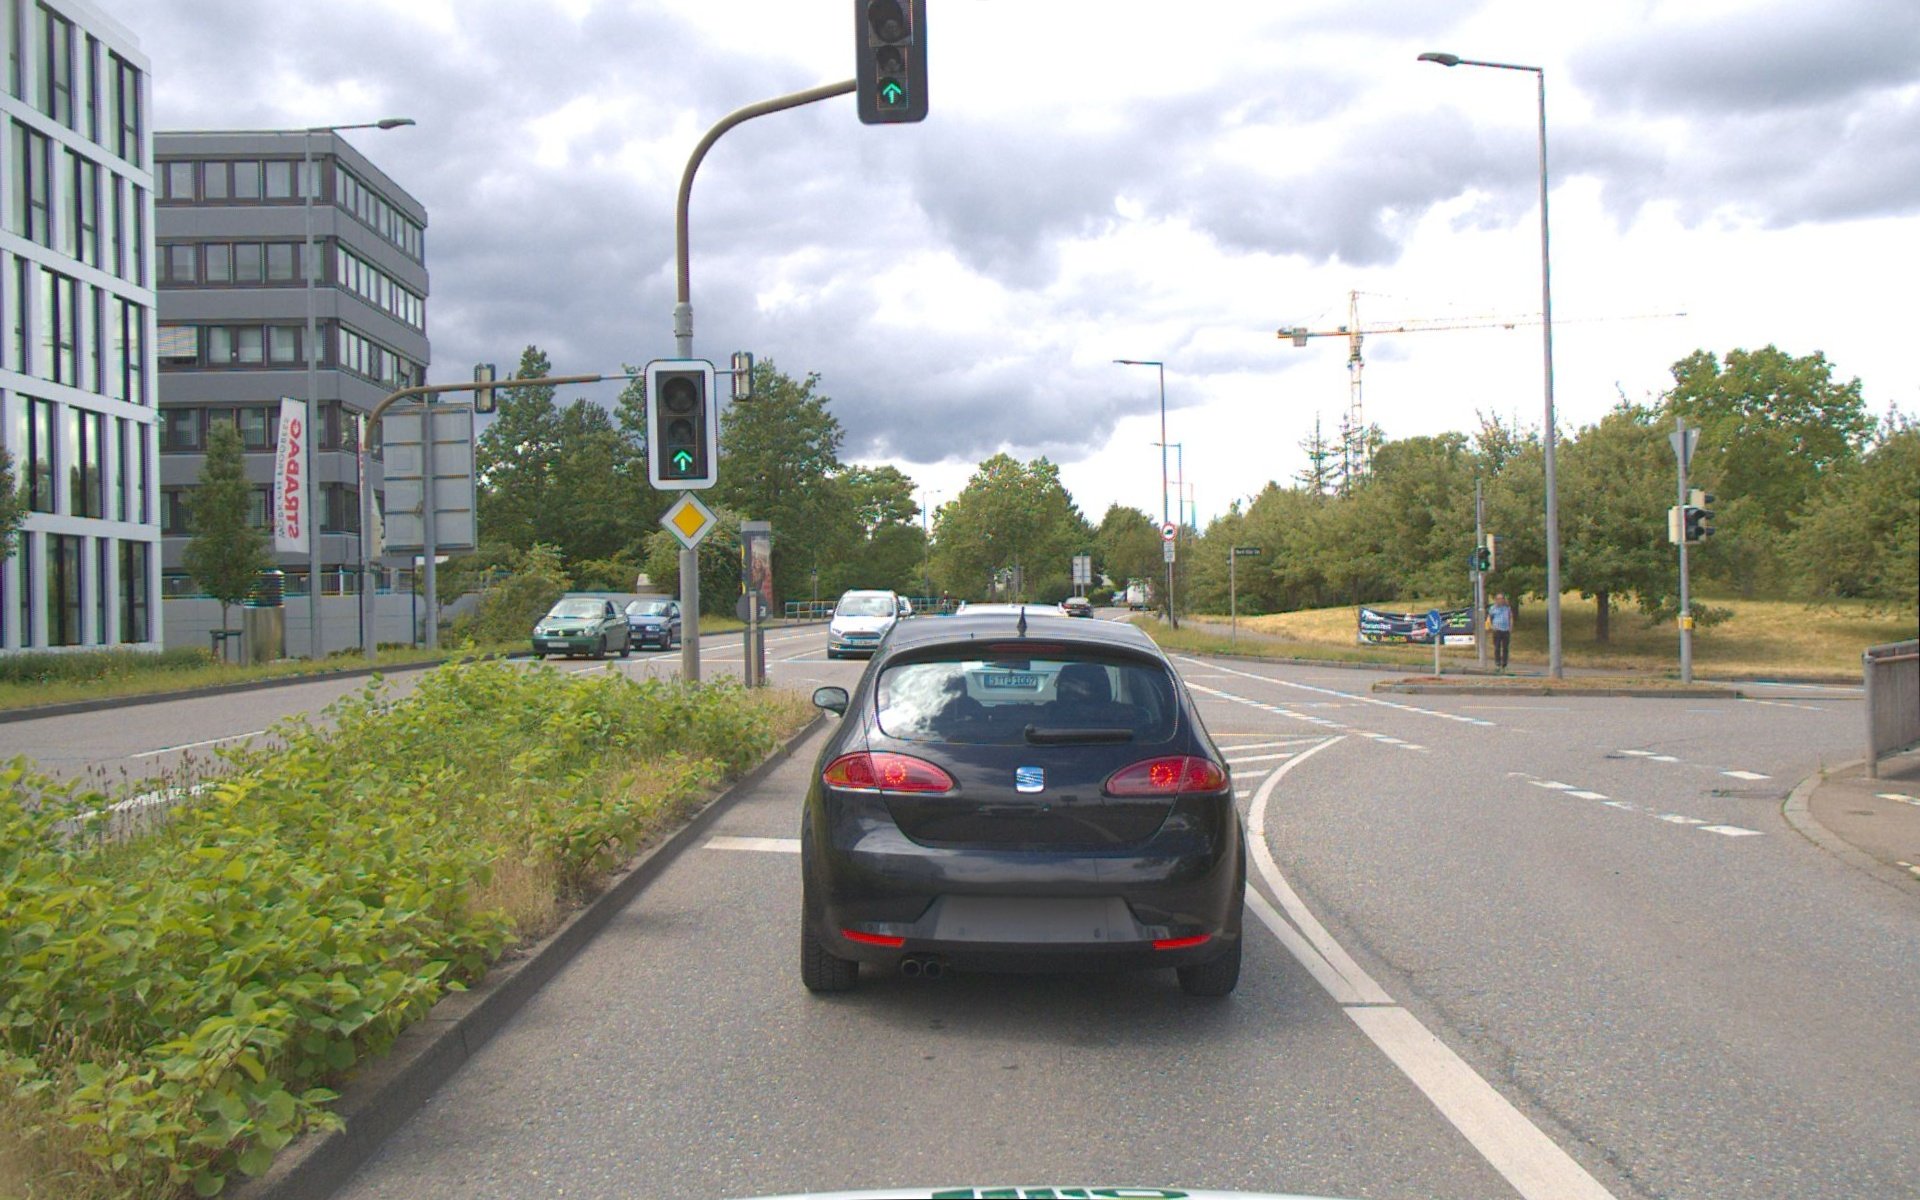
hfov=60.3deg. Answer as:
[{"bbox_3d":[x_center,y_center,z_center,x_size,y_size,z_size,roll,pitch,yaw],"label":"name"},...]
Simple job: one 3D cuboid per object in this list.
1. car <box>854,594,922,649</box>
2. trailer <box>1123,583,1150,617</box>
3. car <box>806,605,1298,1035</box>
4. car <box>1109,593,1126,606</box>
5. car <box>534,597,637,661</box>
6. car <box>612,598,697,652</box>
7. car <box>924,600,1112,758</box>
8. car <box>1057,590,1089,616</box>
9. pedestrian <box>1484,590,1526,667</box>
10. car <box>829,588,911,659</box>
[{"bbox_3d":[-2.091,0.607,49.013,1.625,1.545,4.086,1,0,3],"label":"car"},{"bbox_3d":[16.716,0.048,156.501,2.438,3.127,5.591,1,-1,7],"label":"trailer"},{"bbox_3d":[0.297,0.765,7.410,1.676,1.442,3.458,1,0,-1],"label":"car"},{"bbox_3d":[19.835,-0.101,208.220,1.678,1.609,3.745,1,-1,11],"label":"car"},{"bbox_3d":[-9.034,0.665,40.154,1.572,1.457,3.753,0,0,1],"label":"car"},{"bbox_3d":[-8.627,0.676,46.926,1.521,1.444,3.897,0,0,3],"label":"car"},{"bbox_3d":[0.572,0.779,17.858,1.797,1.493,3.751,1,0,0],"label":"car"},{"bbox_3d":[7.125,0.155,104.352,1.952,1.593,4.473,0,0,4],"label":"car"},{"bbox_3d":[13.062,0.684,39.672,0.703,1.824,1.044,1,-1,3],"label":"pedestrian"},{"bbox_3d":[-2.275,0.556,43.028,1.783,1.716,4.645,1,0,1],"label":"car"}]
